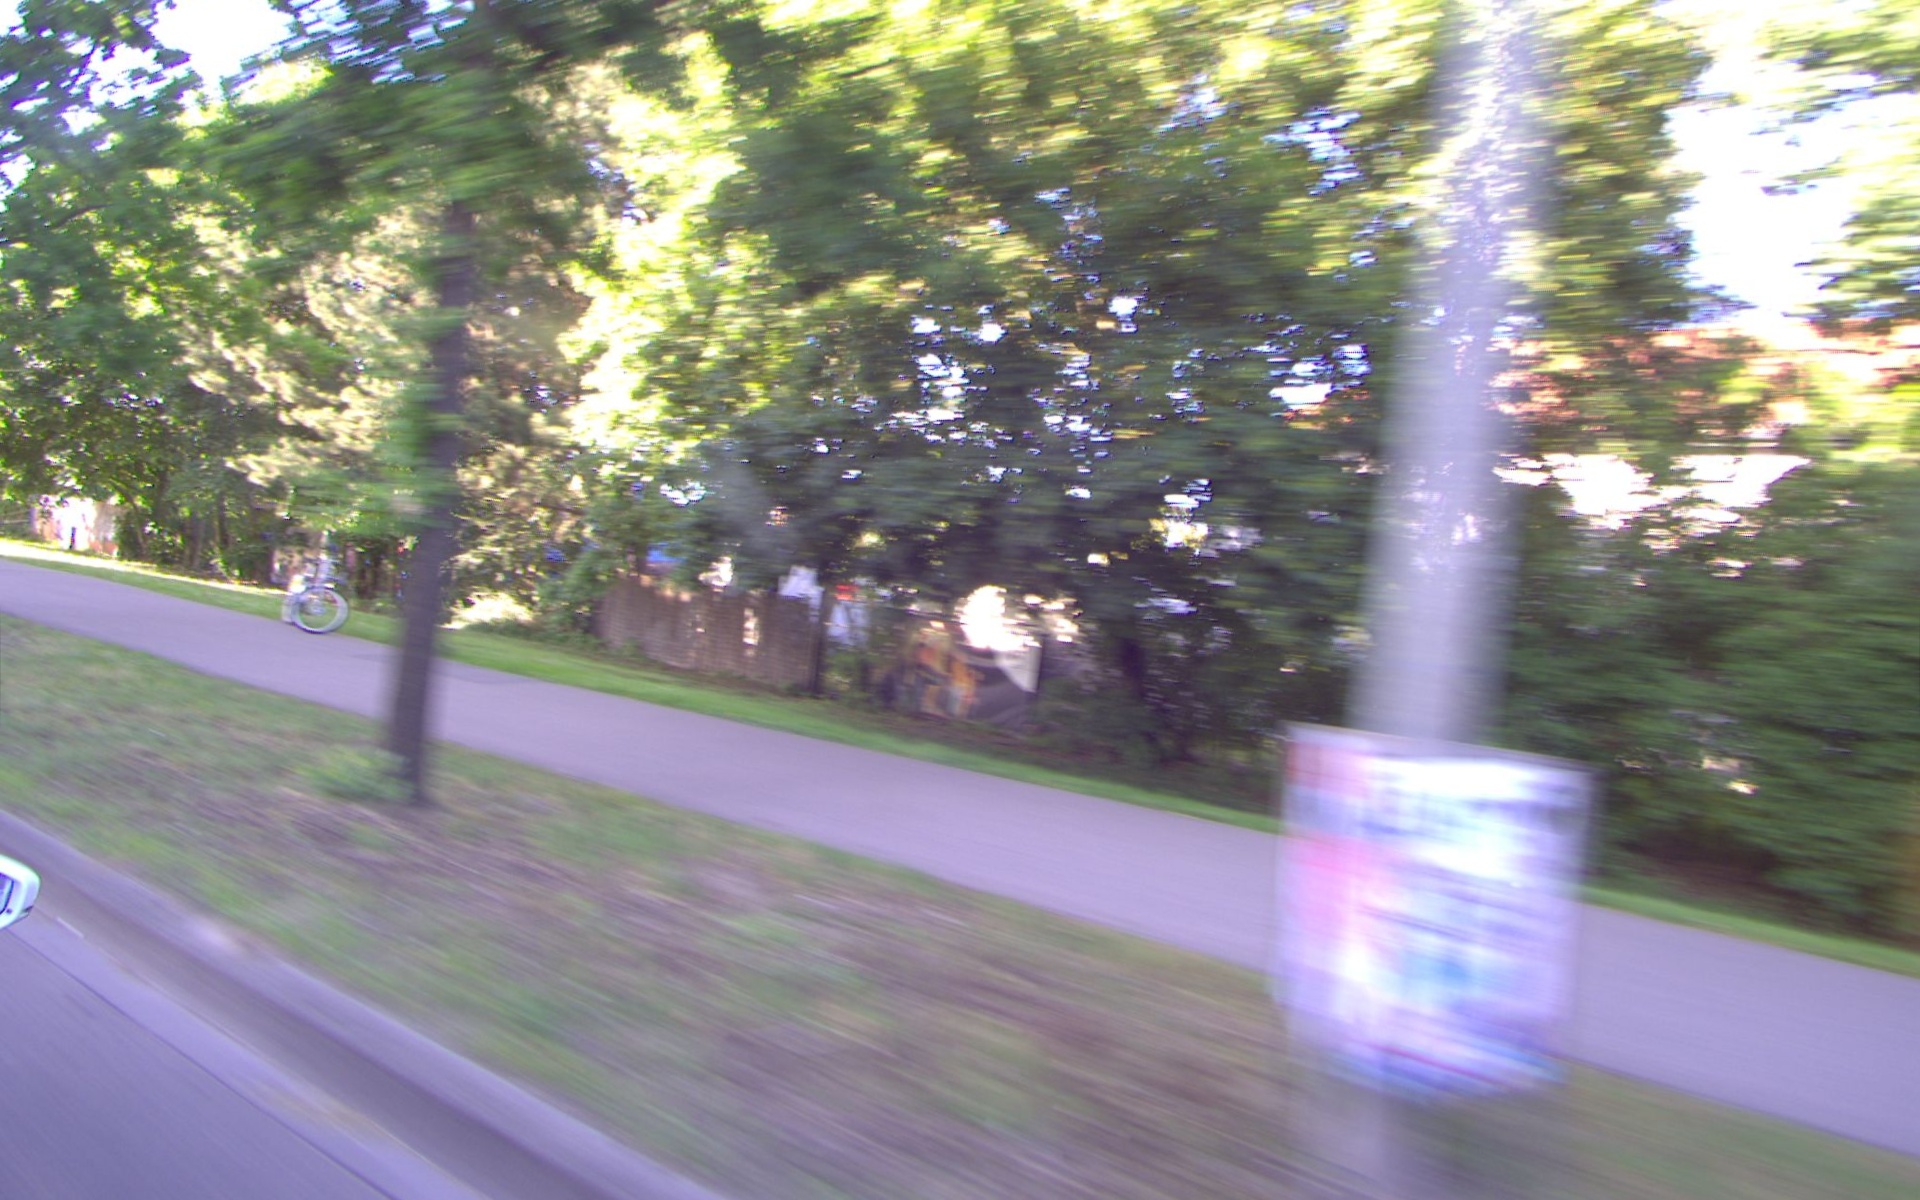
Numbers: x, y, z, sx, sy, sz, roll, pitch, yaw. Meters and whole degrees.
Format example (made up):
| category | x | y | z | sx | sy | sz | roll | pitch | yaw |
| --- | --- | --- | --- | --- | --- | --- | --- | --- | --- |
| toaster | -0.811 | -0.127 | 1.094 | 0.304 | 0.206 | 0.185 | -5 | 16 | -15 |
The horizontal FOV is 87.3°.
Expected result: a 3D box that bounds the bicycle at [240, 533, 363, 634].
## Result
| category | x | y | z | sx | sy | sz | roll | pitch | yaw |
| --- | --- | --- | --- | --- | --- | --- | --- | --- | --- |
| bicycle | -8.841 | -0.233 | 13.491 | 1.683 | 1.145 | 0.773 | 7 | 0 | 38 |
